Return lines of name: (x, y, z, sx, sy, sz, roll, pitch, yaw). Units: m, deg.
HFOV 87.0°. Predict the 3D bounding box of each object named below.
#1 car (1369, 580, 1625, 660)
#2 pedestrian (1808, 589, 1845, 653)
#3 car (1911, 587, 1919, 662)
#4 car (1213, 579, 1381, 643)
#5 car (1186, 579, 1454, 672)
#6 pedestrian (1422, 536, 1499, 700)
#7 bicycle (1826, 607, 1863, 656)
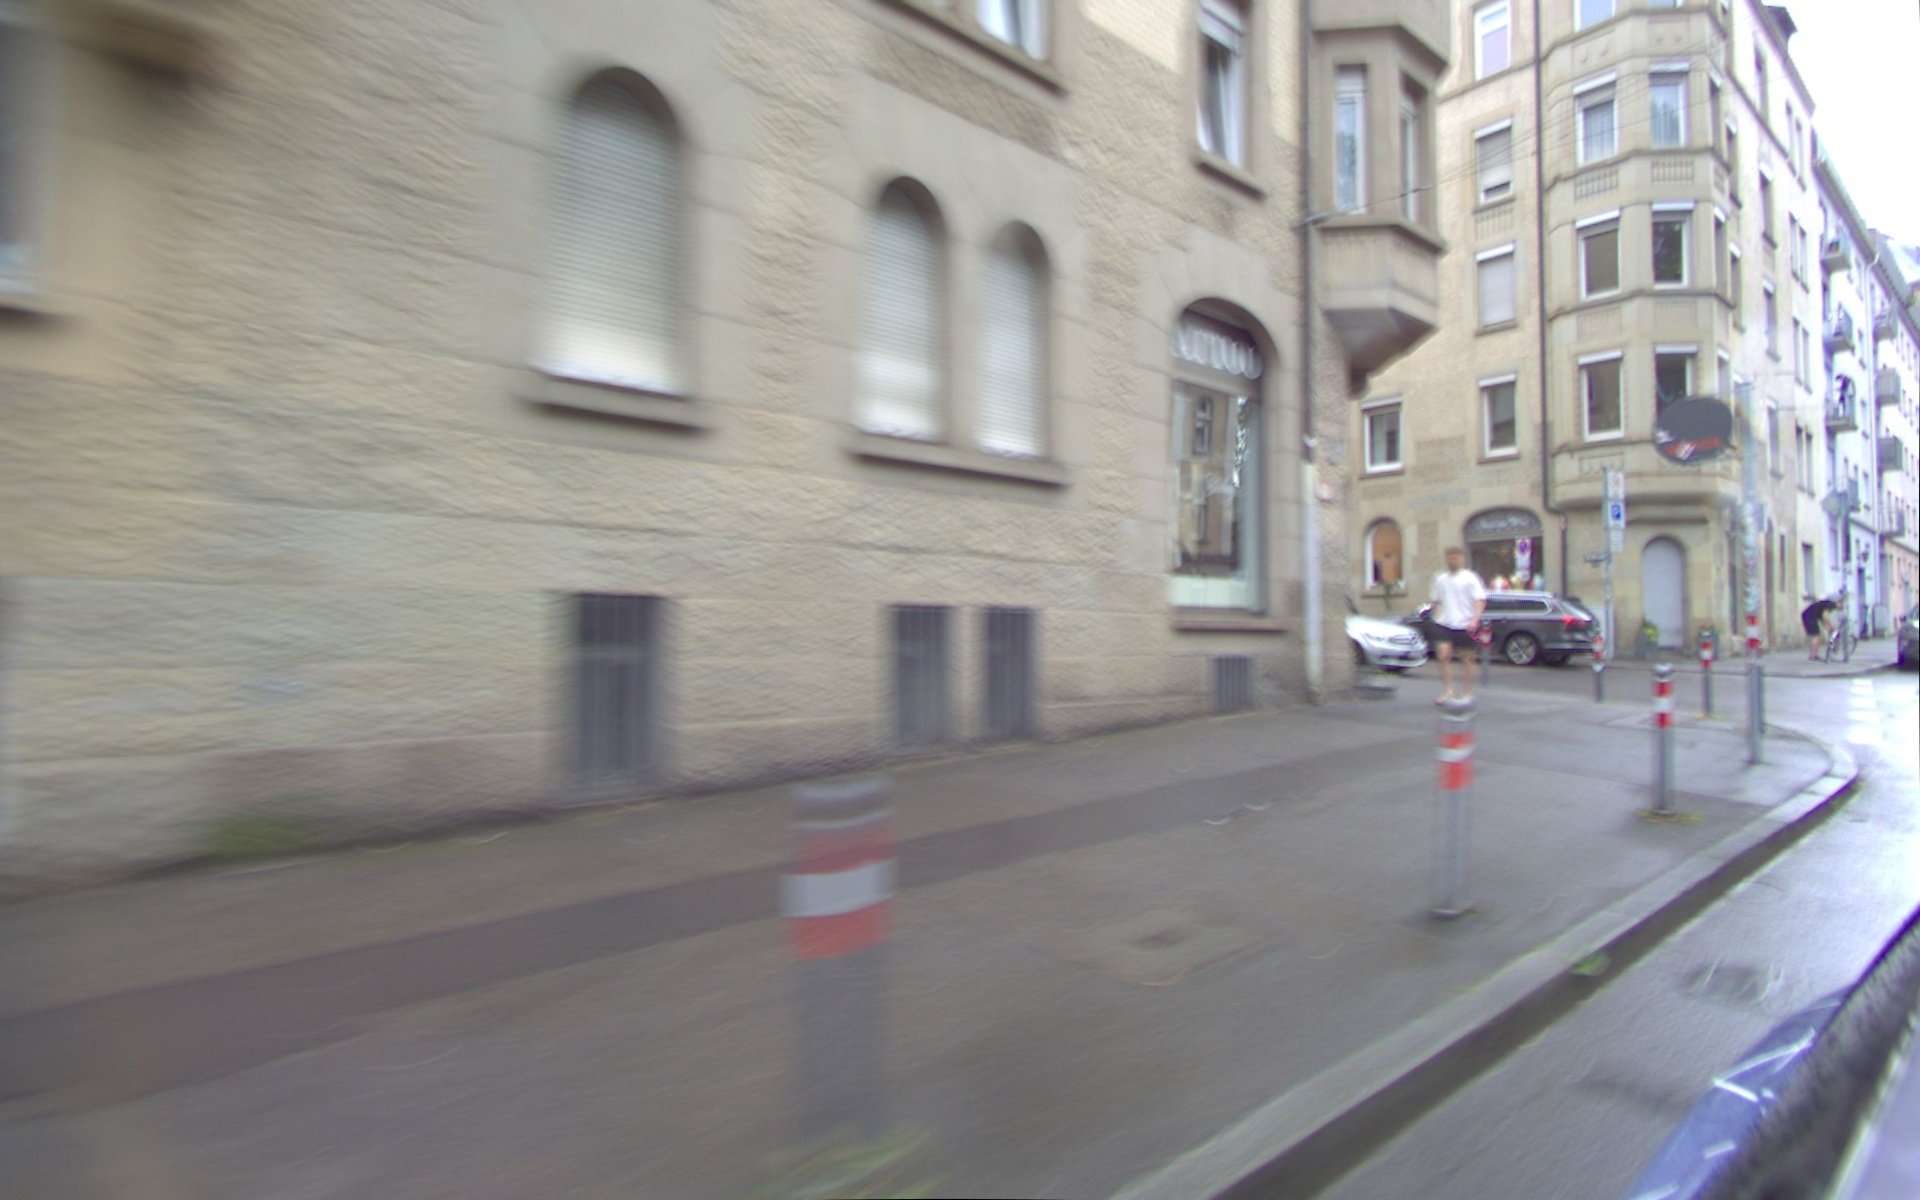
car: (11.336, 0.400, 21.657, 1.746, 1.519, 4.507, 4, -2, -38)
pedestrian: (19.122, 0.452, 22.333, 0.504, 1.388, 0.402, 0, 0, 23)
car: (22.344, 0.540, 22.270, 3.931, 1.606, 1.743, 1, -1, -42)
car: (8.550, 0.261, 25.951, 1.581, 1.468, 3.844, 4, -2, -37)
car: (6.283, 0.376, 18.099, 1.765, 1.386, 4.216, 1, 1, -38)
pedestrian: (5.619, 0.197, 11.352, 0.564, 1.774, 0.579, 2, -1, -40)
bicycle: (19.446, 0.692, 22.236, 1.645, 1.027, 0.339, 1, 1, -40)
